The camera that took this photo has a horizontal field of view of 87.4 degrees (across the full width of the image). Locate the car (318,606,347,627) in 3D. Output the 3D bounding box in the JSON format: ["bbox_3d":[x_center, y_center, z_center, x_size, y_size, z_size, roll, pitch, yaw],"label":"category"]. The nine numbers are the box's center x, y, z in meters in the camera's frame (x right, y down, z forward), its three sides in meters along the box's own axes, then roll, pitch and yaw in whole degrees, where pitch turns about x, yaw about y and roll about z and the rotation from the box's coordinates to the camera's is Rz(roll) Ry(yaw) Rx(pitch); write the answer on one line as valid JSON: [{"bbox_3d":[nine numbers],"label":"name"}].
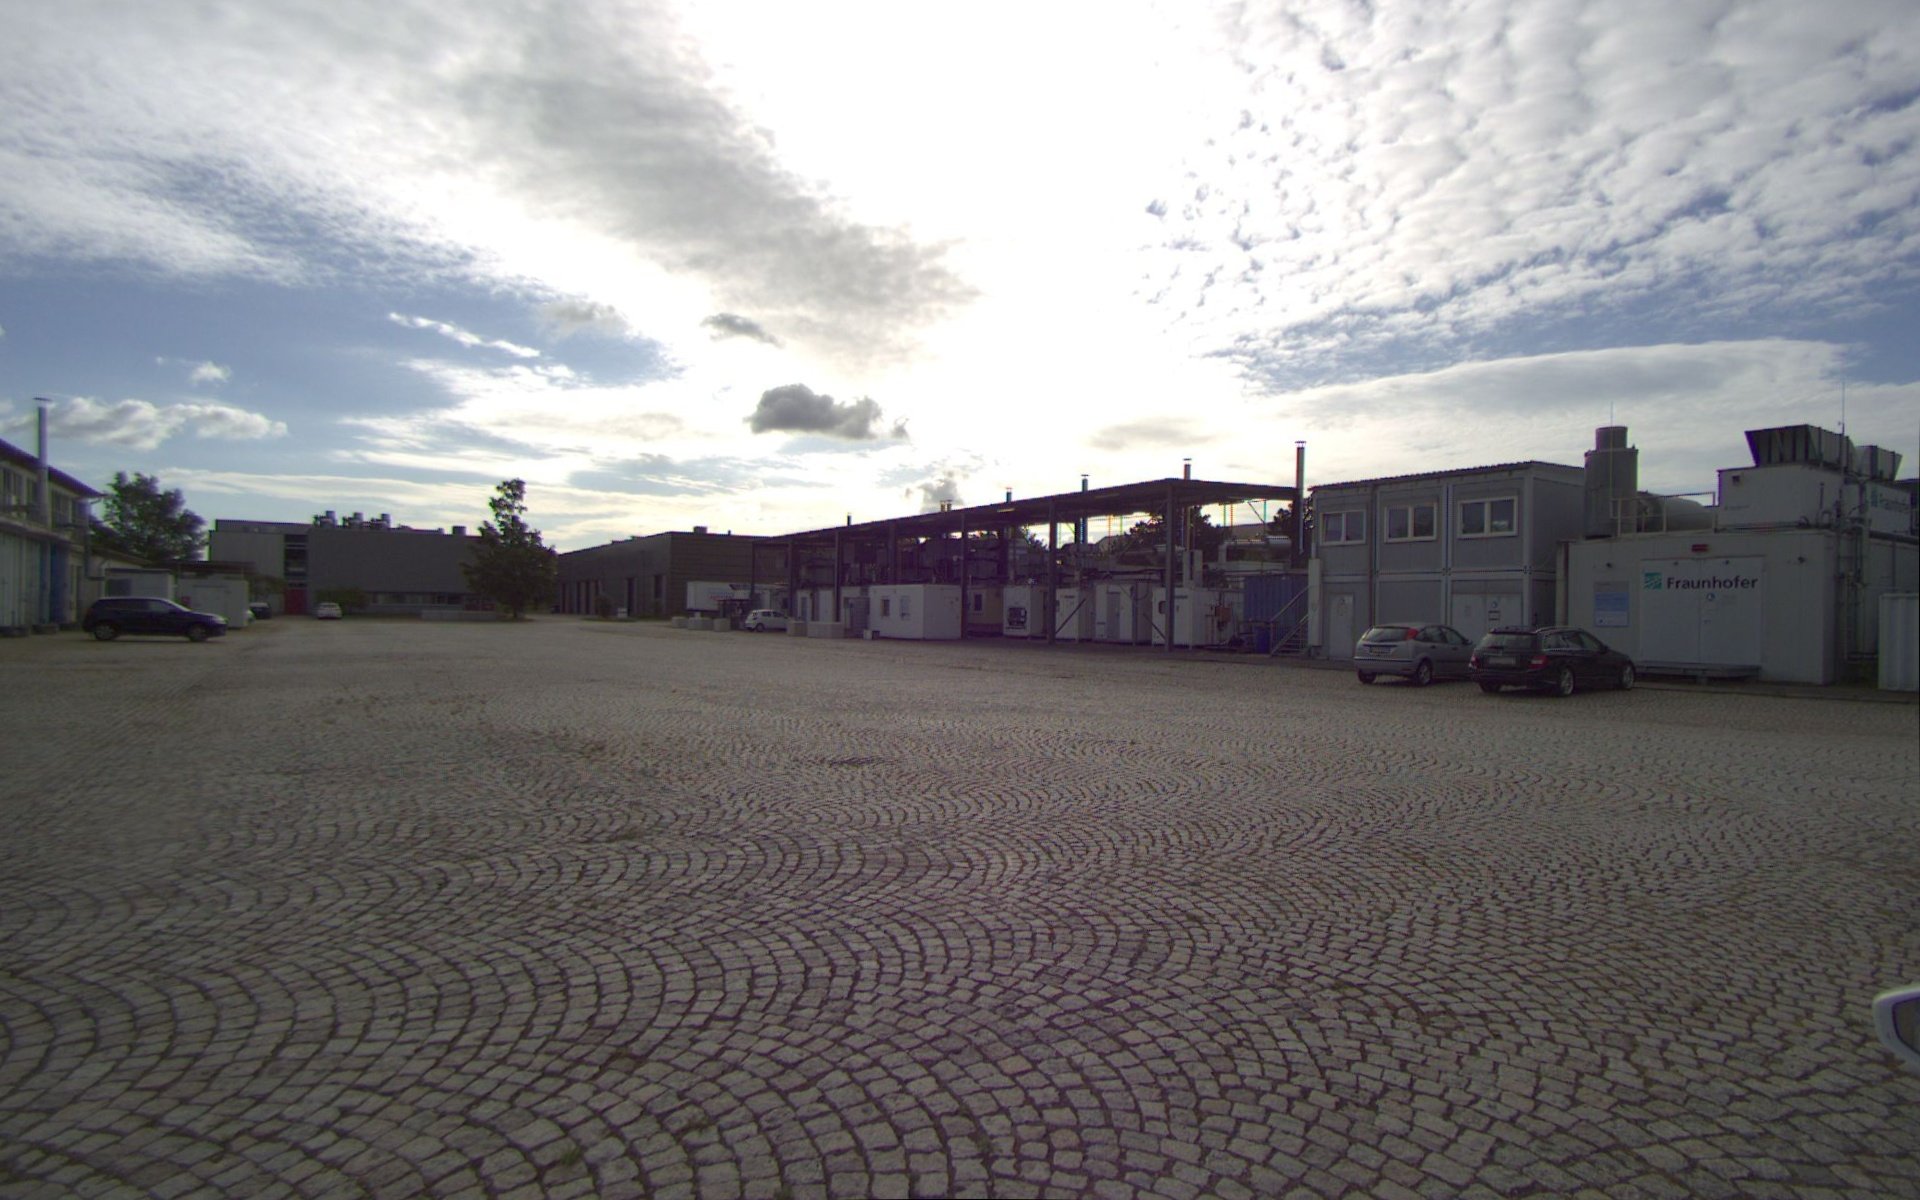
[{"bbox_3d":[-56.866,1.522,90.973,2.132,1.834,3.963,1,-1,-34],"label":"car"}]

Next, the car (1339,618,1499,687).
[{"bbox_3d":[11.505,1.240,25.100,4.006,1.495,1.894,0,0,-35],"label":"car"}]

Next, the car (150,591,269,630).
[{"bbox_3d":[-45.060,0.676,60.509,5.573,2.249,2.429,1,-1,-34],"label":"car"}]

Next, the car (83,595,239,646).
[{"bbox_3d":[-29.782,0.802,37.637,4.390,1.779,1.982,1,-4,-34],"label":"car"}]

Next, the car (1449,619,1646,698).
[{"bbox_3d":[13.076,1.208,22.283,4.481,1.472,2.024,-1,0,-34],"label":"car"}]

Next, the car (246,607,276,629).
[{"bbox_3d":[-60.960,1.549,87.665,1.979,1.834,3.963,1,-1,-34],"label":"car"}]

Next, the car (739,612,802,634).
[{"bbox_3d":[-13.343,1.652,70.750,3.960,1.512,1.981,1,-1,-35],"label":"car"}]
